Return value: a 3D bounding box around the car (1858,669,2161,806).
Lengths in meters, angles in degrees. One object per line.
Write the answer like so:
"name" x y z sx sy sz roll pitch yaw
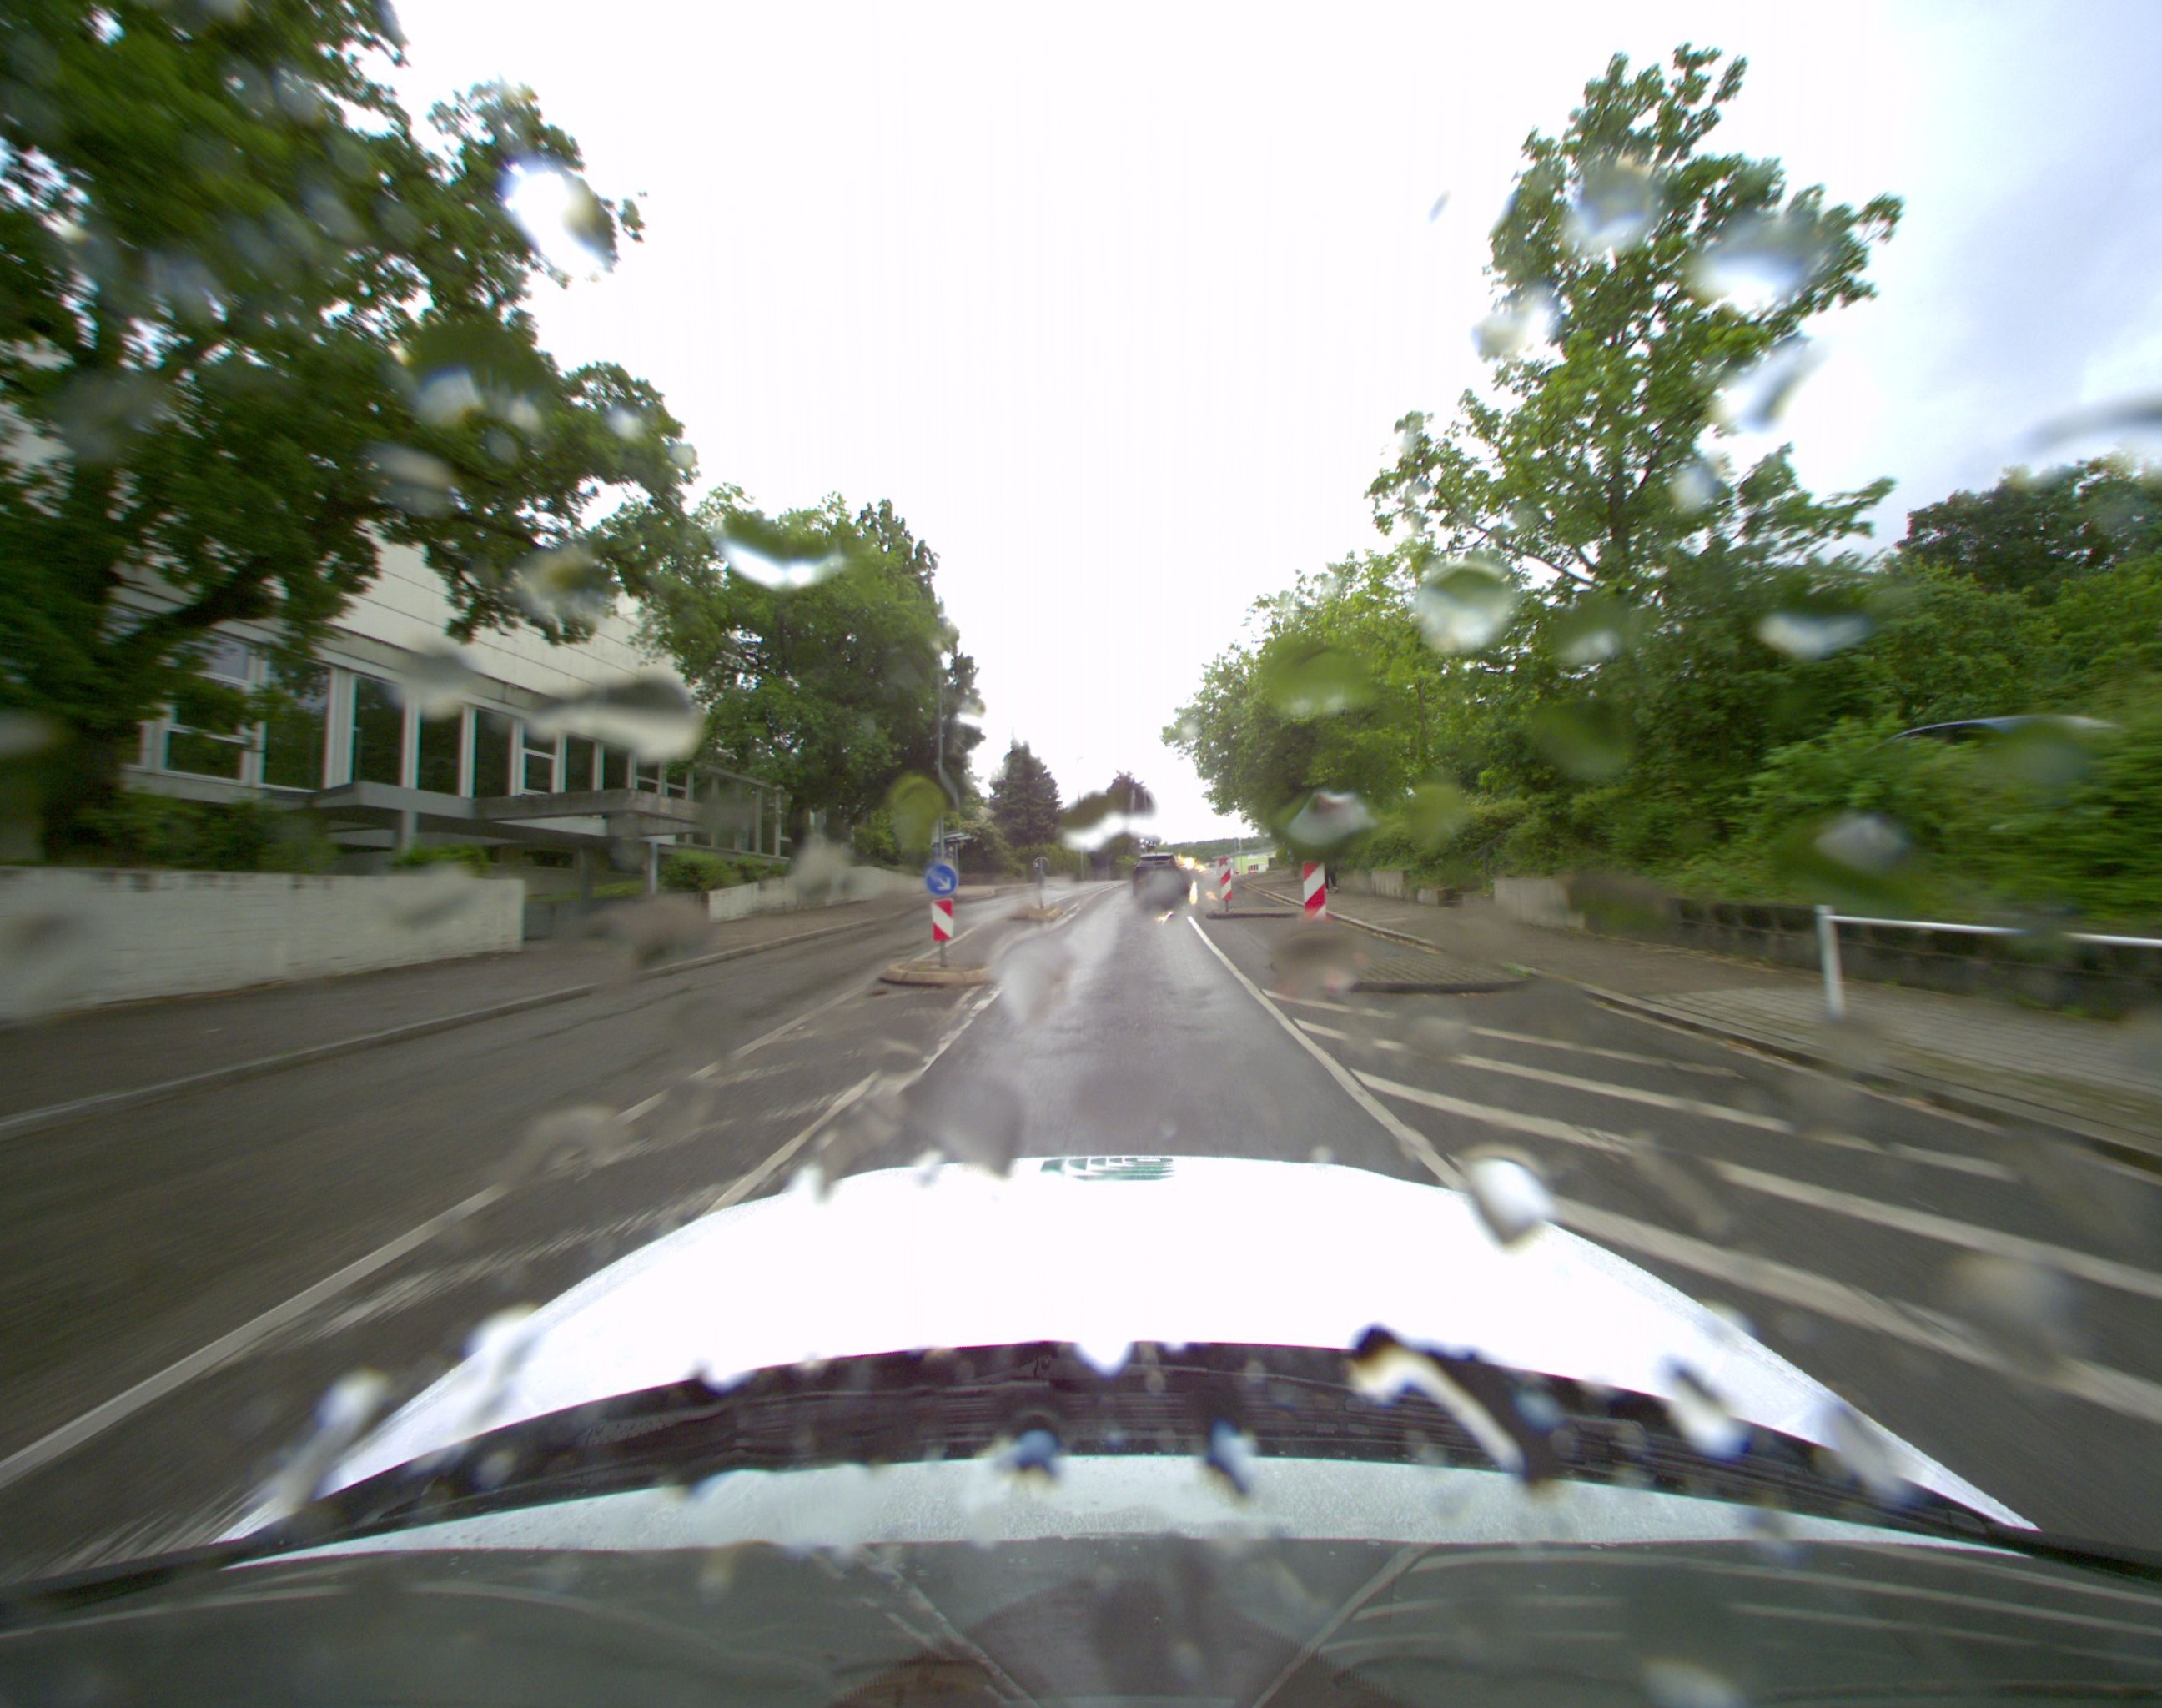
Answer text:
"car" 11.865 -1.359 10.315 1.302 1.309 2.877 -1 0 0

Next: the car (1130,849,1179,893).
"car" 2.904 0.637 32.260 1.781 1.603 4.259 -1 0 5

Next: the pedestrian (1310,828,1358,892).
"pedestrian" 7.766 0.194 25.063 1.048 1.893 1.132 -2 -2 -2
